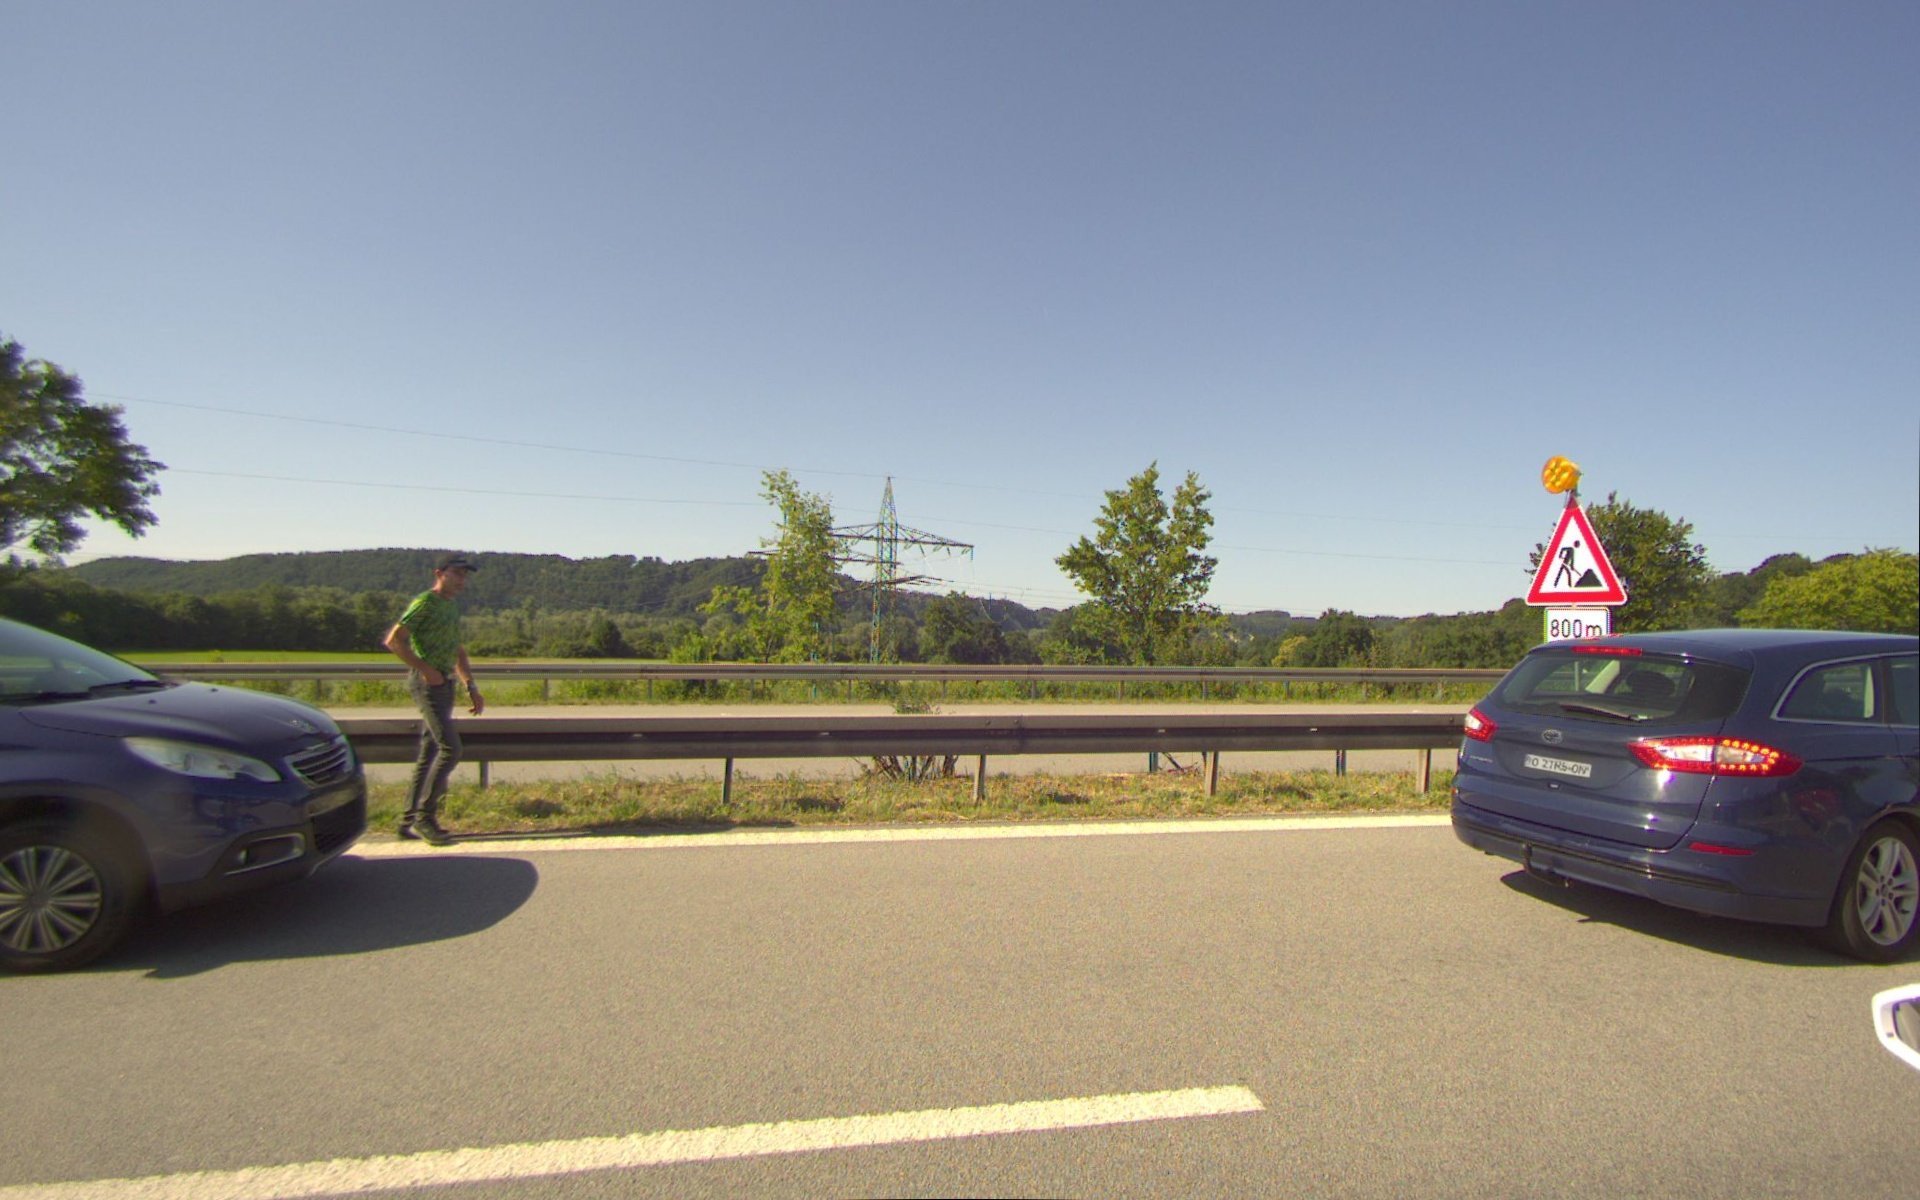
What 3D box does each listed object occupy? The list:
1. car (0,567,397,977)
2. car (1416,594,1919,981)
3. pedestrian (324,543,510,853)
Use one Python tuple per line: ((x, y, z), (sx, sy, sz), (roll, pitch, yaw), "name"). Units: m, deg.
((-4.853, 0.625, 4.337), (3.883, 1.555, 1.688), (1, 0, -15), "car")
((4.925, 0.812, 5.567), (4.425, 1.513, 1.786), (1, -2, -21), "car")
((-3.301, 0.578, 6.181), (0.800, 1.773, 0.671), (1, -2, -11), "pedestrian")
